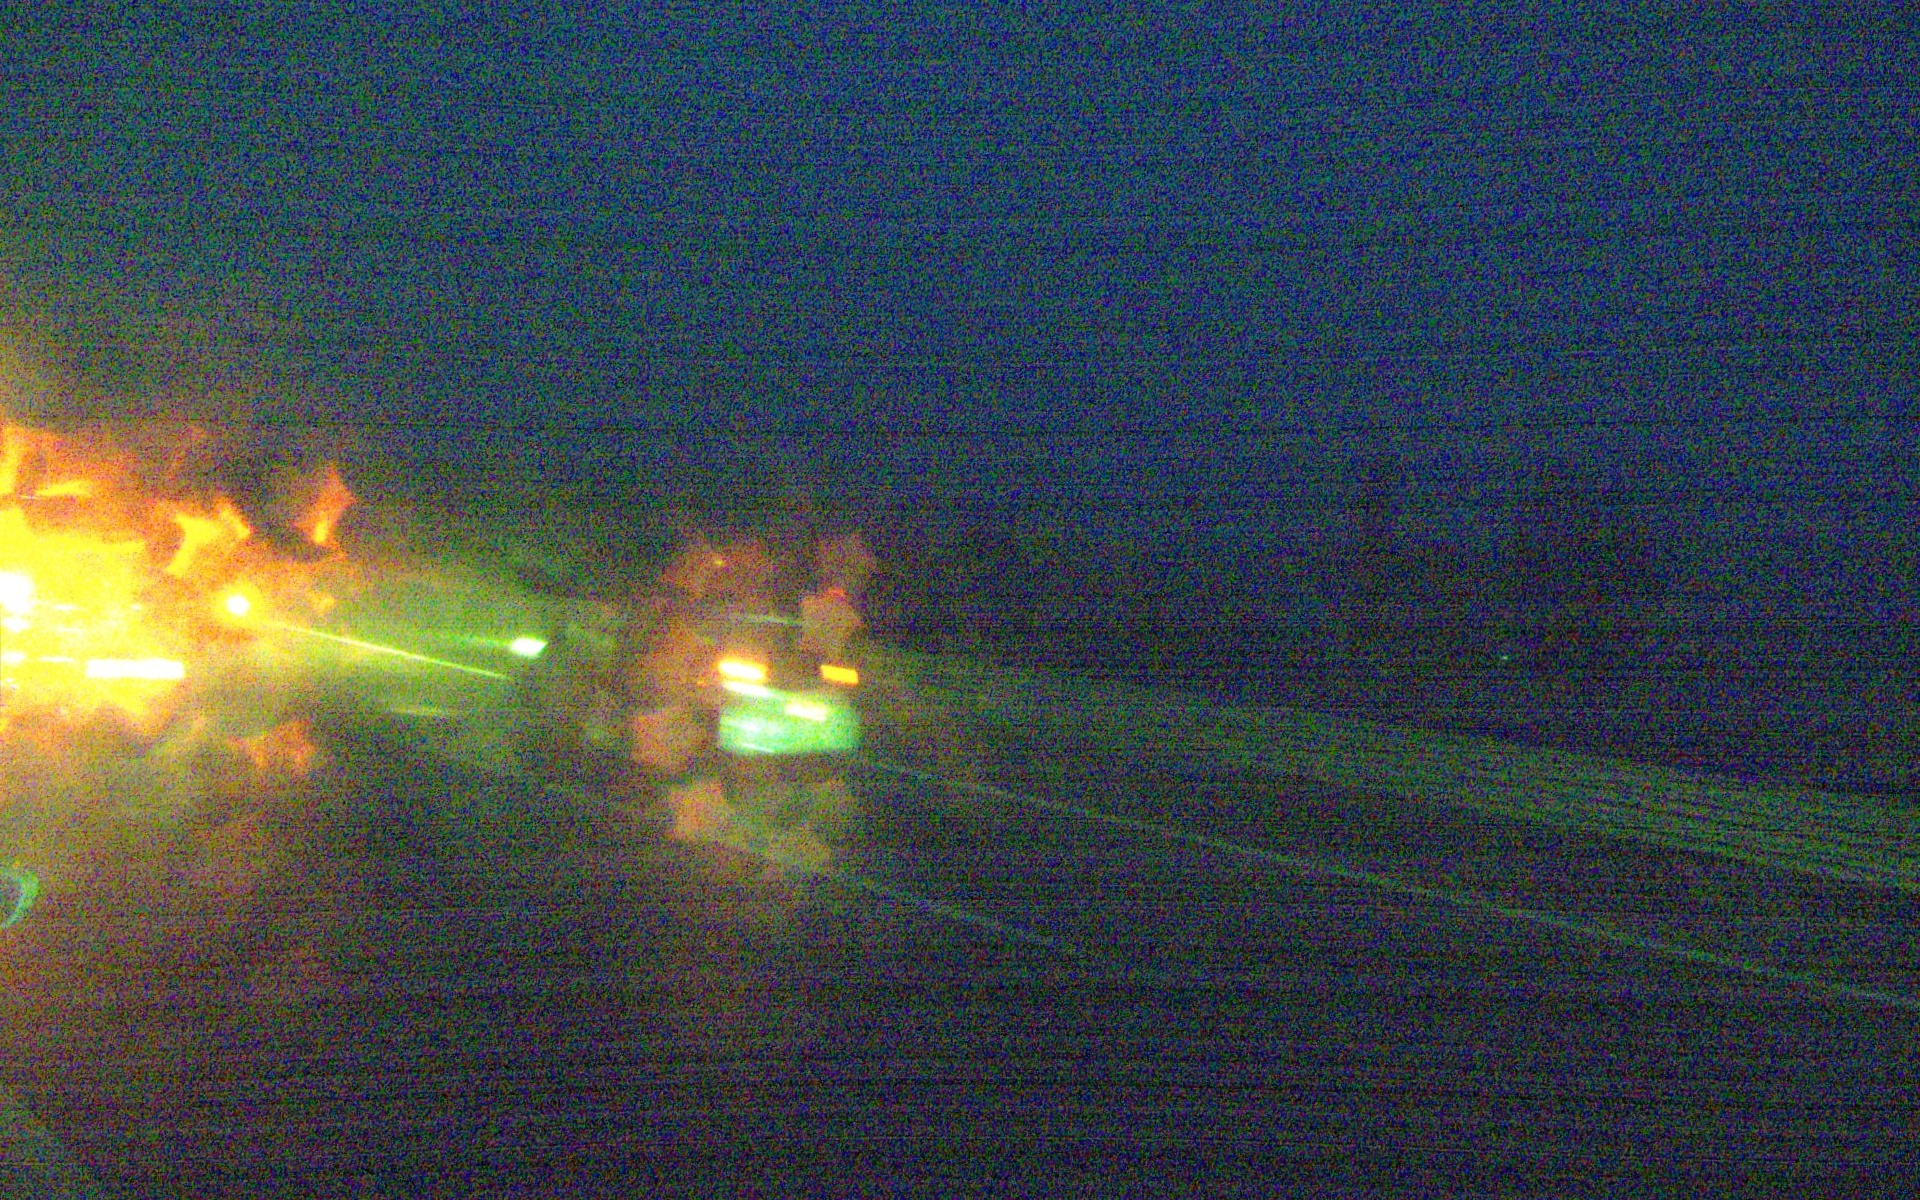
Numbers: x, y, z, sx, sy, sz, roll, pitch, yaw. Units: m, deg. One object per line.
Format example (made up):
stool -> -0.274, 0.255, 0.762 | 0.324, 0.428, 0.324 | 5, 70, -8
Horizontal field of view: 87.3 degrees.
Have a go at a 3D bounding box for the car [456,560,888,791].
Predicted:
car -> -2.844, 0.609, 9.689 | 3.946, 1.522, 1.641 | 7, 1, 31

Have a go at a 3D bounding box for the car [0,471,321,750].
car -> -6.963, -0.051, 7.586 | 4.419, 1.594, 1.743 | 6, -1, 31
